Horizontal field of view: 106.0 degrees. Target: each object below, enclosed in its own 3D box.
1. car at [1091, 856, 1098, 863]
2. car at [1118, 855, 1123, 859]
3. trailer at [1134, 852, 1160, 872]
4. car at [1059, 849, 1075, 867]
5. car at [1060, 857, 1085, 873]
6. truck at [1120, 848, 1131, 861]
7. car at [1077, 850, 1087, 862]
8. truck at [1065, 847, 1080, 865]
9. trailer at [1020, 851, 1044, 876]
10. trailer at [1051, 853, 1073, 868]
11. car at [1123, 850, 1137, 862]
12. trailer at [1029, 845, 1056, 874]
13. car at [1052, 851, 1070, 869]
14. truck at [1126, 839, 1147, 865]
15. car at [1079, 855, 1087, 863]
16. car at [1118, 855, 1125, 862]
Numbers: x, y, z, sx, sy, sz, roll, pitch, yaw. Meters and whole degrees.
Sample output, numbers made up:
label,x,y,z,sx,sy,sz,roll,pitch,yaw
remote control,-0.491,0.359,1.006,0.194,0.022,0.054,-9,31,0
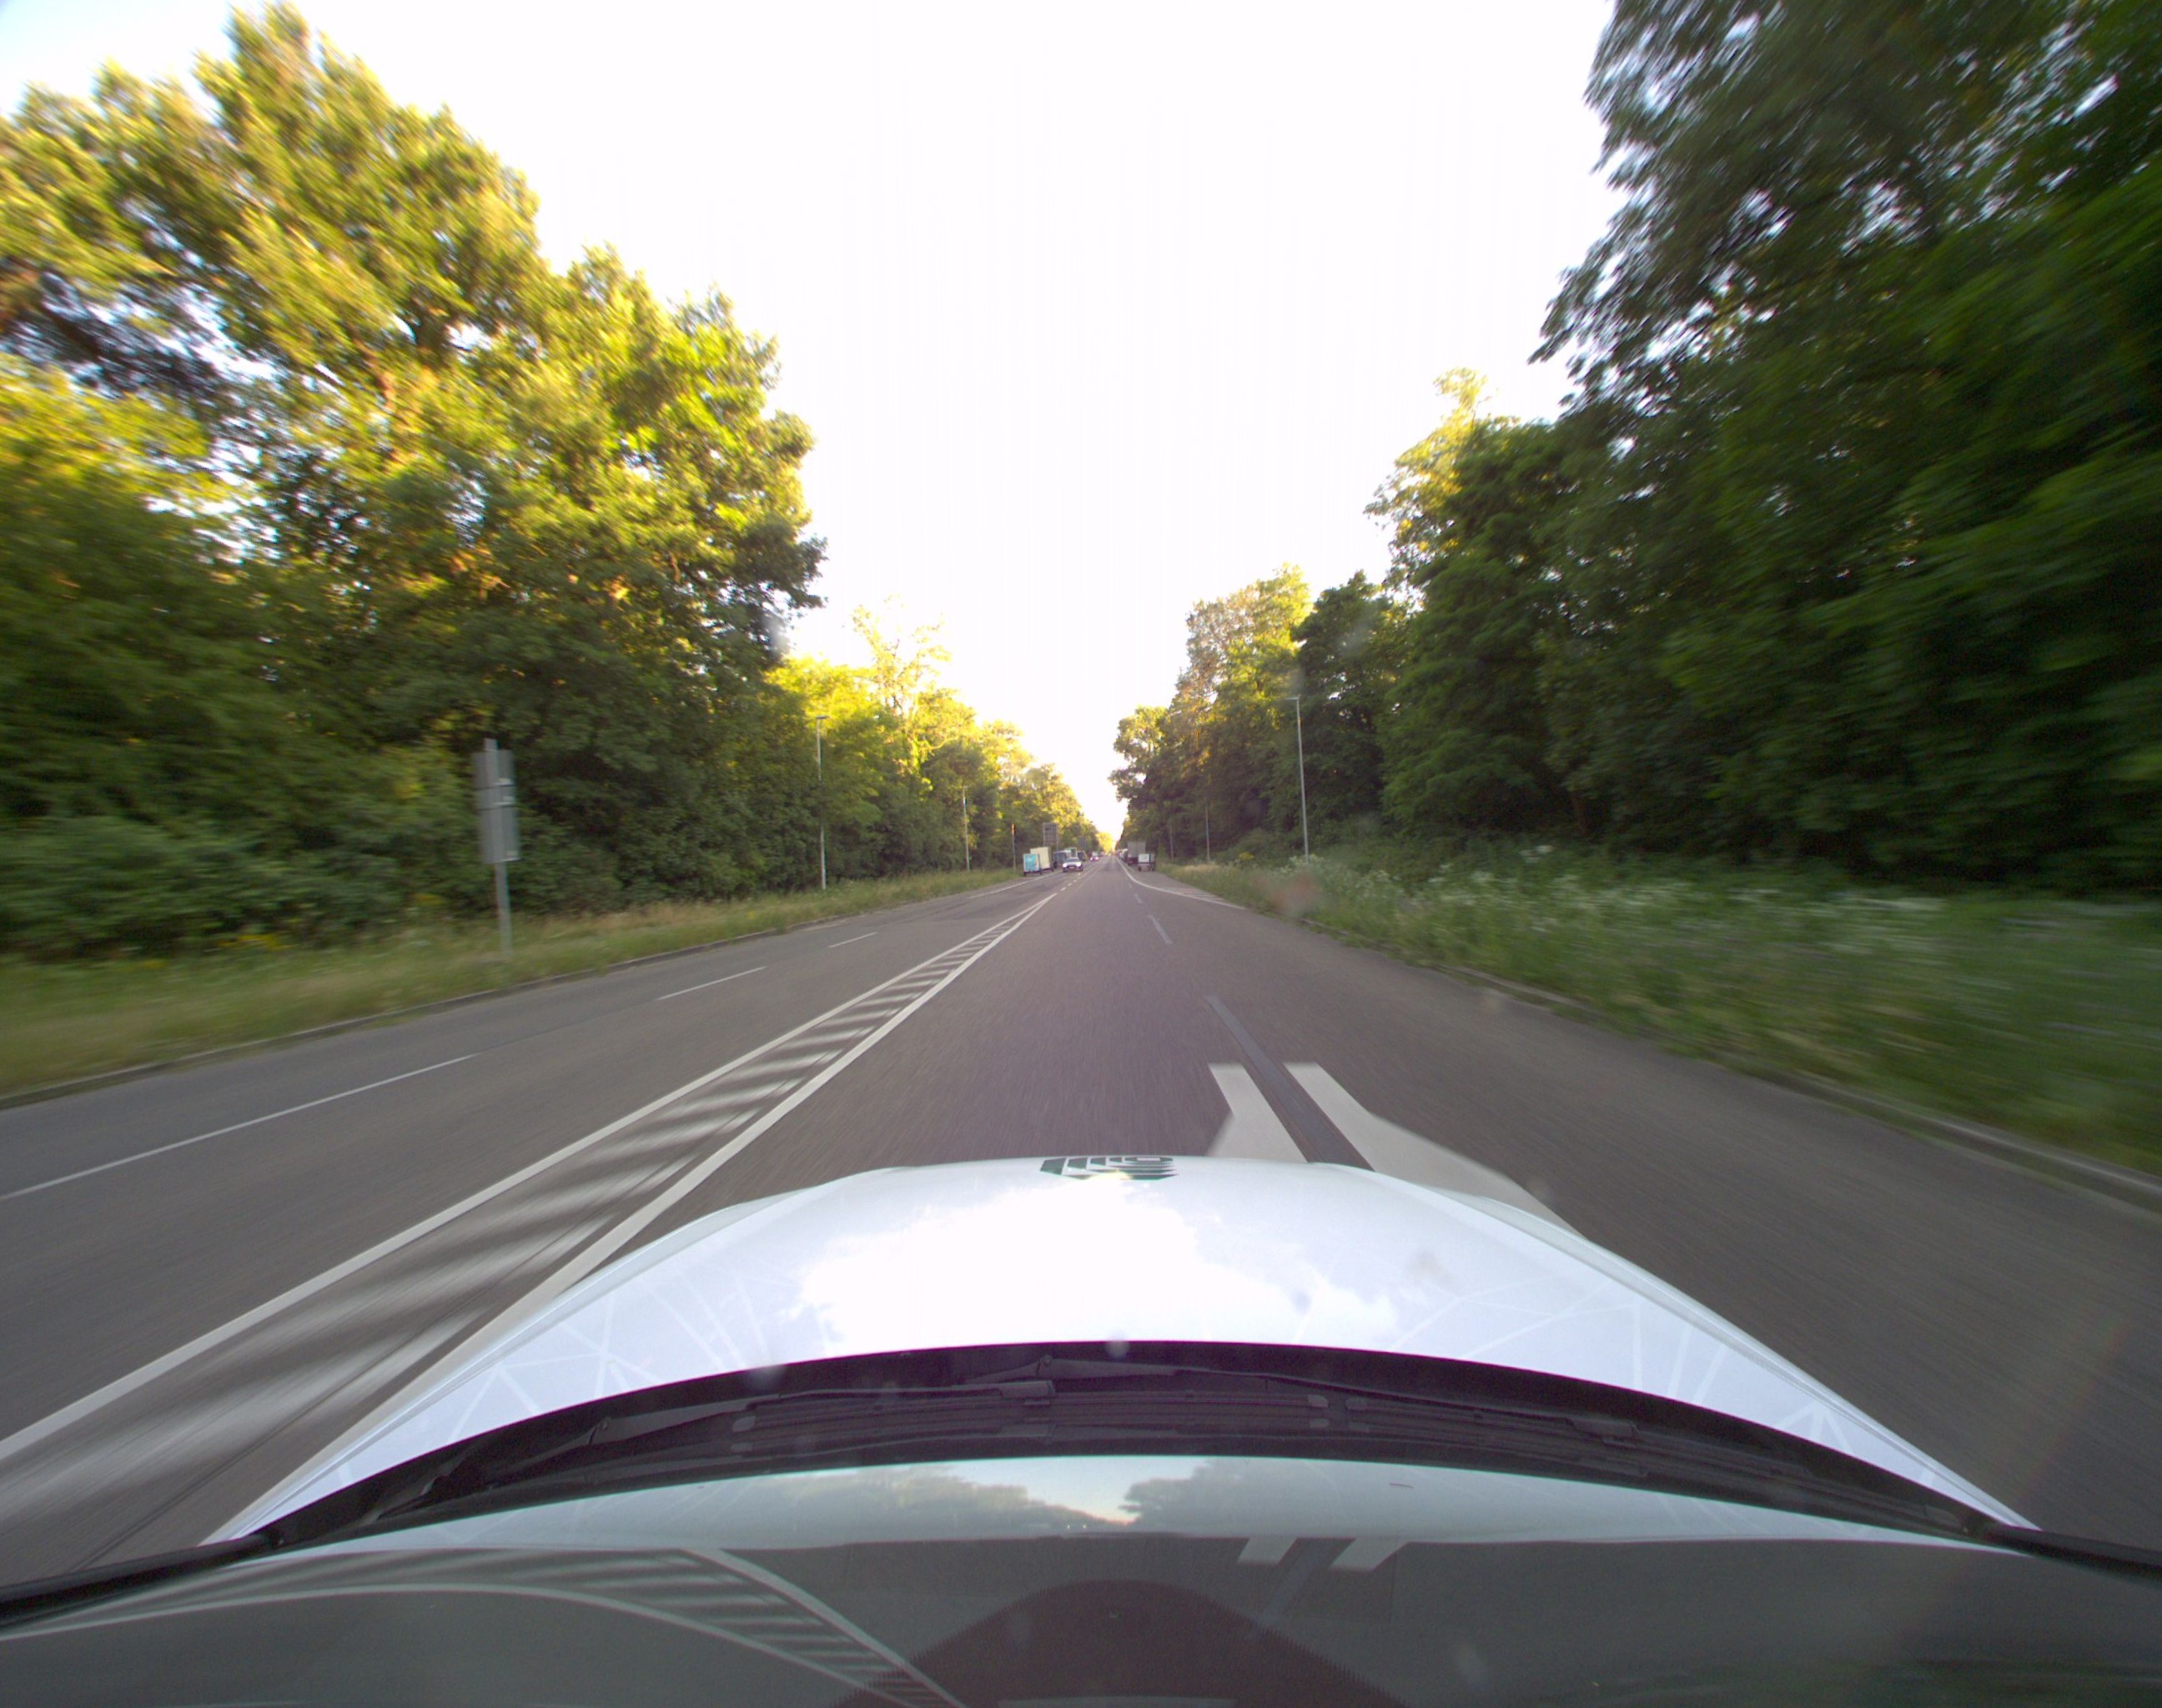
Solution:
label,x,y,z,sx,sy,sz,roll,pitch,yaw
car,3.212,1.320,193.441,1.677,1.486,4.037,-4,0,0
car,12.492,0.955,256.986,1.421,1.222,3.413,0,0,2
trailer,6.146,0.762,75.818,1.444,1.662,3.794,-4,0,18
car,-2.292,0.654,135.013,2.241,2.647,5.724,-4,0,2
car,-0.816,1.131,84.284,2.054,1.435,4.471,-6,-1,4
truck,9.529,0.078,174.340,2.135,2.659,4.299,-2,0,0
car,0.217,0.439,195.219,2.178,2.788,5.337,-4,0,2
truck,-1.669,0.310,160.594,2.494,3.328,6.845,-4,0,2
trailer,-4.551,0.906,76.552,1.811,2.167,4.144,-4,0,1
trailer,-2.970,0.947,129.497,1.945,2.155,3.952,-4,0,23
car,8.543,0.416,142.356,1.987,1.955,4.299,-2,0,0
trailer,-4.307,0.582,92.169,2.317,2.924,5.629,-5,0,1
car,-2.888,0.783,117.189,1.986,2.364,5.768,-5,0,2
truck,7.374,-0.273,108.455,2.577,3.255,7.227,-2,0,4
car,0.592,1.351,216.730,1.693,2.013,4.002,-7,0,2
car,9.019,1.056,181.157,1.143,1.251,2.753,-9,1,0
